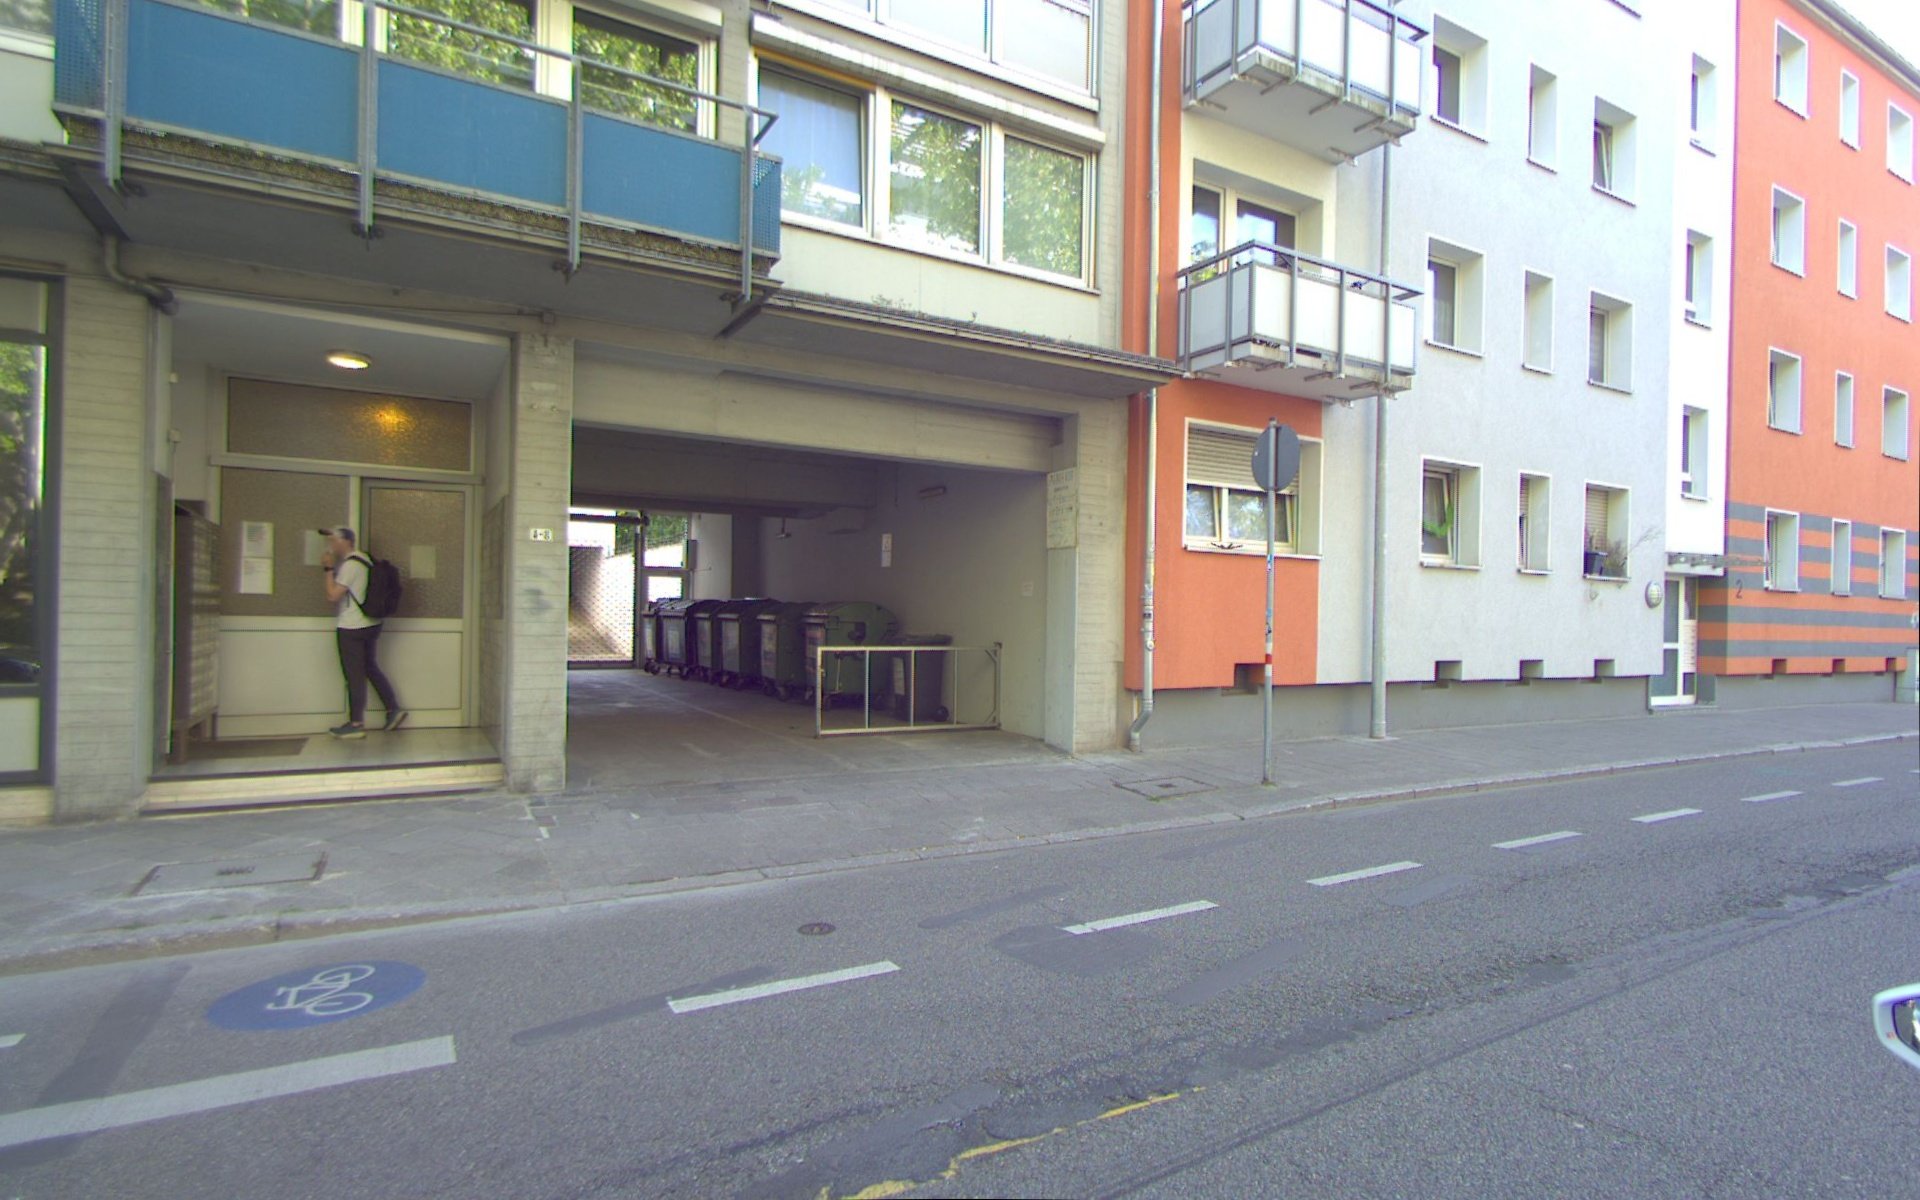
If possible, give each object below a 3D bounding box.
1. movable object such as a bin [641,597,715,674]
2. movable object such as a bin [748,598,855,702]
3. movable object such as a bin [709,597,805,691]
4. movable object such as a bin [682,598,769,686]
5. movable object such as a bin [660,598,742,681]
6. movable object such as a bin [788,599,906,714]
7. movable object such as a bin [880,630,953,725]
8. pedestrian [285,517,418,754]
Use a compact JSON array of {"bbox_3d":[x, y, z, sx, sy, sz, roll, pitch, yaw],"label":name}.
[{"bbox_3d":[-5.618,0.690,19.980,1.186,1.467,1.027,2,0,-30],"label":"movable object such as a bin"},{"bbox_3d":[-2.405,0.725,15.133,1.186,1.467,1.319,2,0,-30],"label":"movable object such as a bin"},{"bbox_3d":[-3.372,0.703,16.617,1.186,1.467,1.319,2,0,-30],"label":"movable object such as a bin"},{"bbox_3d":[-4.143,0.724,17.708,1.186,1.467,1.114,2,0,-30],"label":"movable object such as a bin"},{"bbox_3d":[-4.842,0.726,18.751,1.186,1.467,1.222,2,0,-30],"label":"movable object such as a bin"},{"bbox_3d":[-1.565,0.744,13.800,1.159,1.467,1.319,2,0,-30],"label":"movable object such as a bin"},{"bbox_3d":[-0.537,0.944,12.408,0.745,1.116,0.463,2,0,-30],"label":"movable object such as a bin"},{"bbox_3d":[-5.190,0.289,8.586,0.572,1.904,0.783,2,0,37],"label":"pedestrian"}]
